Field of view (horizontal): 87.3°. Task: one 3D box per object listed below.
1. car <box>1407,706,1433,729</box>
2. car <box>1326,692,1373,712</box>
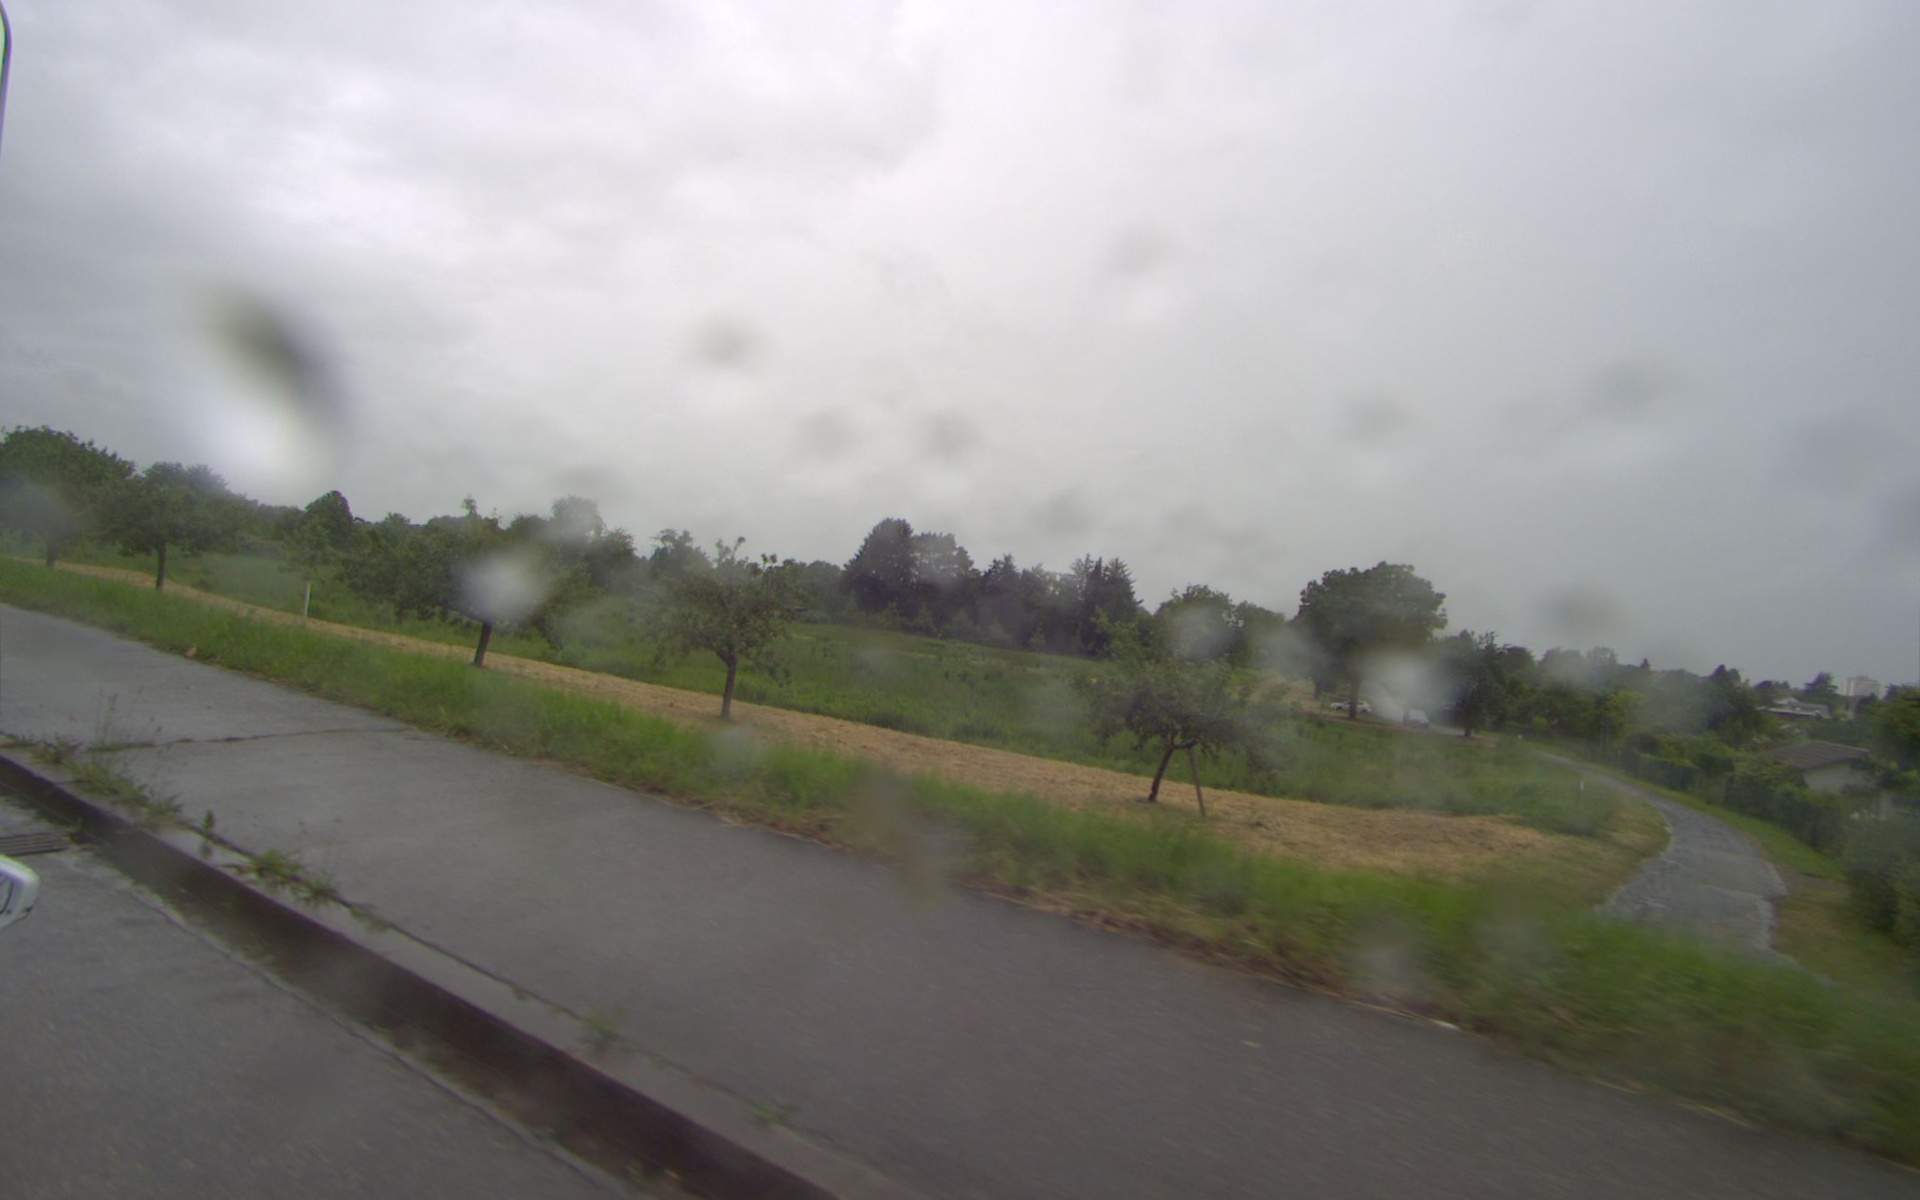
[{"bbox_3d":[38.681,9.858,84.614,1.768,1.528,4.000,6,-2,25],"label":"car"},{"bbox_3d":[40.068,10.484,103.567,4.086,1.527,1.803,7,-2,14],"label":"car"}]
